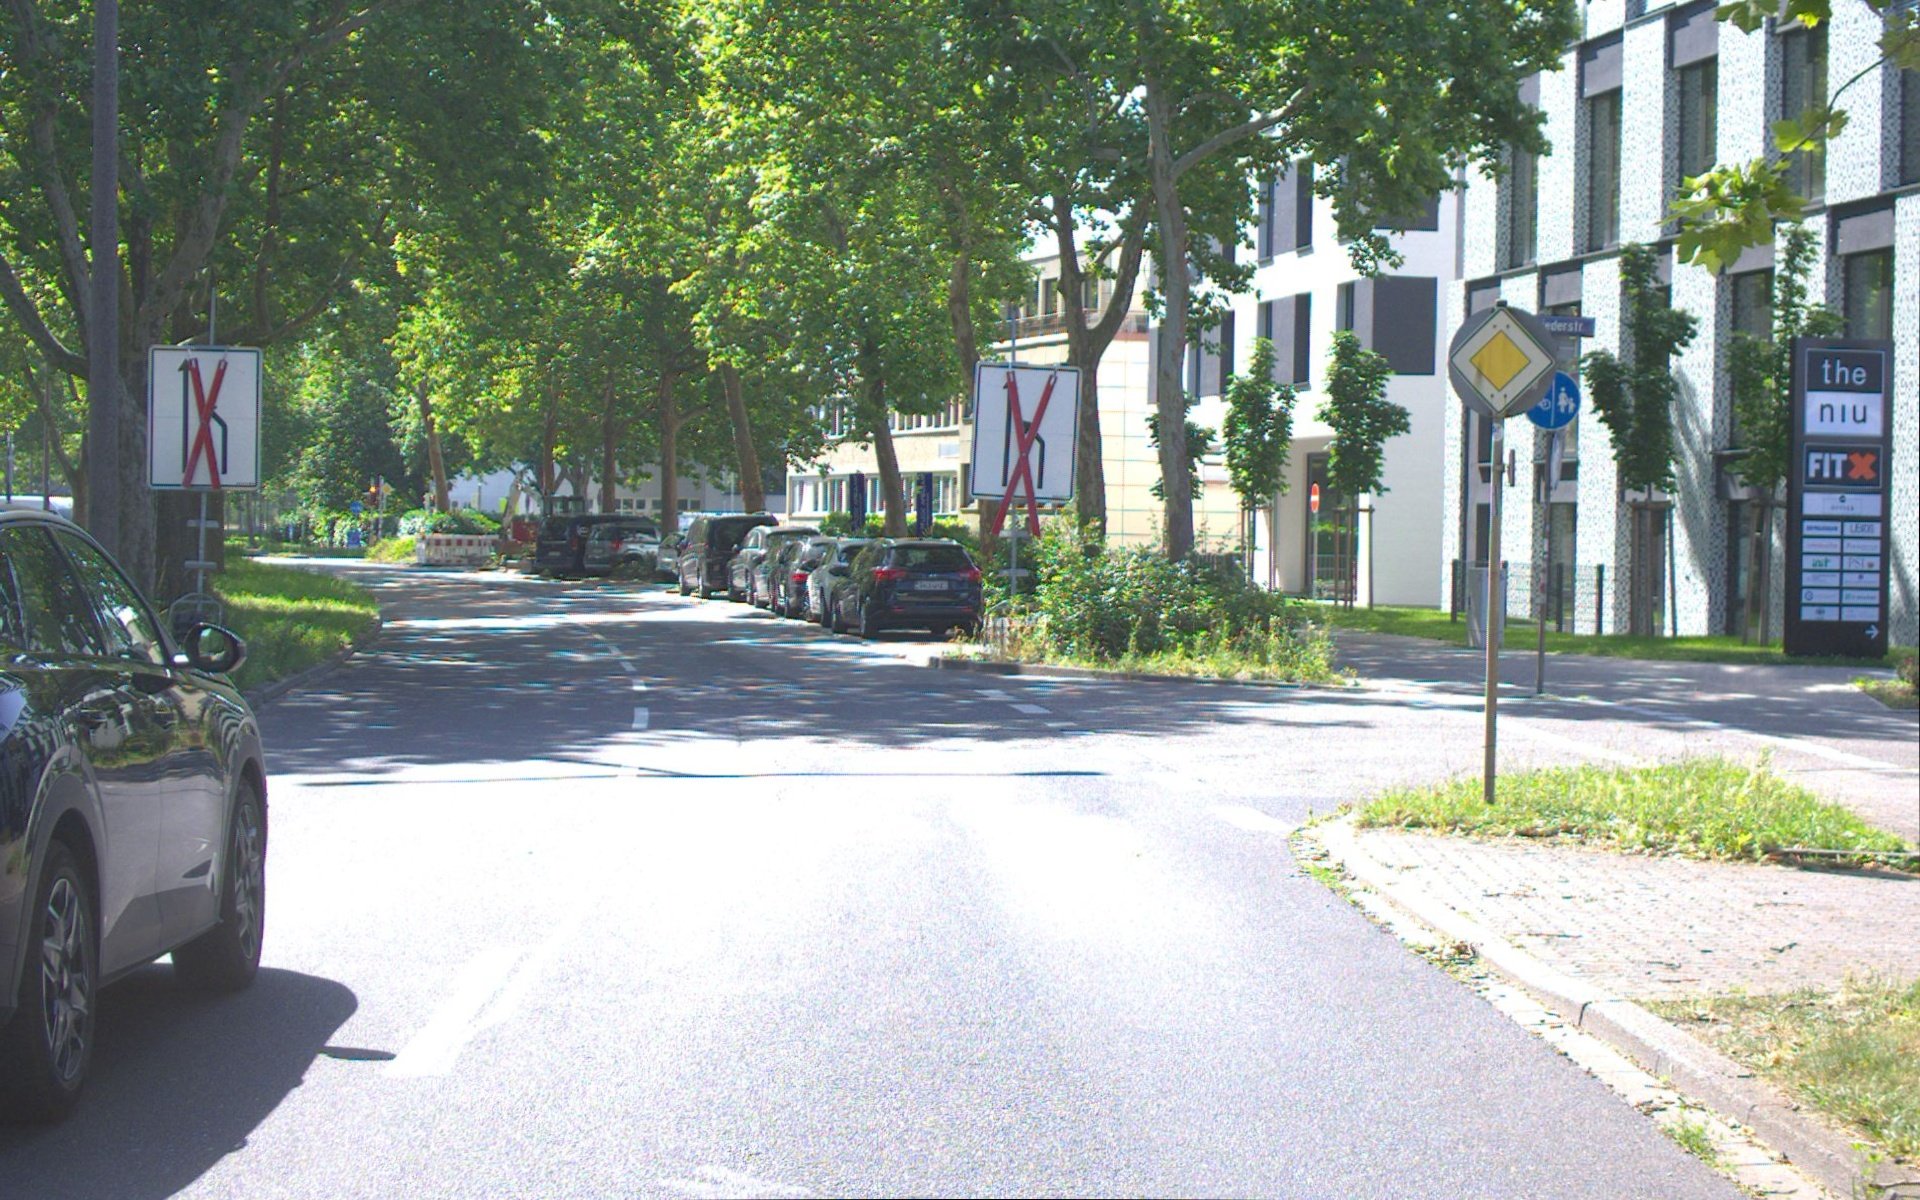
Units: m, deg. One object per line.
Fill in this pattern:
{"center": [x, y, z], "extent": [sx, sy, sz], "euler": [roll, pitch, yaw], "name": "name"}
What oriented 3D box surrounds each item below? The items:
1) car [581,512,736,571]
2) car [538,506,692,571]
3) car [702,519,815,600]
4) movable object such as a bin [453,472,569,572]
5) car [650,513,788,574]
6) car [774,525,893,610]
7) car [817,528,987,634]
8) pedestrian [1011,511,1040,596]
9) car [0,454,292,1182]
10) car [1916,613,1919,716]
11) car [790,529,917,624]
{"center": [-8.705, -1.686, 99.344], "extent": [4.099, 1.627, 1.713], "euler": [0, 1, -28], "name": "car"}
{"center": [-10.119, -1.804, 100.937], "extent": [4.099, 1.873, 1.785], "euler": [0, 1, -29], "name": "car"}
{"center": [-4.406, -0.906, 74.561], "extent": [1.706, 1.664, 4.535], "euler": [1, 1, -13], "name": "car"}
{"center": [-14.717, -2.563, 112.667], "extent": [2.328, 3.230, 3.430], "euler": [0, 2, -37], "name": "movable object such as a bin"}
{"center": [-6.670, -1.564, 95.118], "extent": [3.551, 1.634, 1.660], "euler": [1, 1, -15], "name": "car"}
{"center": [-2.332, -0.615, 62.443], "extent": [1.706, 1.450, 4.657], "euler": [1, 1, -8], "name": "car"}
{"center": [-0.918, -0.325, 51.637], "extent": [1.706, 1.482, 4.720], "euler": [0, 2, -12], "name": "car"}
{"center": [1.395, -0.988, 73.288], "extent": [0.475, 1.802, 0.637], "euler": [1, 1, -8], "name": "pedestrian"}
{"center": [-3.252, 0.479, 10.128], "extent": [1.872, 1.690, 4.436], "euler": [0, 1, -2], "name": "car"}
{"center": [10.740, 0.385, 30.218], "extent": [4.249, 1.512, 1.999], "euler": [2, 1, 9], "name": "car"}
{"center": [-1.814, -0.419, 57.426], "extent": [1.706, 1.482, 4.102], "euler": [1, 1, -8], "name": "car"}
